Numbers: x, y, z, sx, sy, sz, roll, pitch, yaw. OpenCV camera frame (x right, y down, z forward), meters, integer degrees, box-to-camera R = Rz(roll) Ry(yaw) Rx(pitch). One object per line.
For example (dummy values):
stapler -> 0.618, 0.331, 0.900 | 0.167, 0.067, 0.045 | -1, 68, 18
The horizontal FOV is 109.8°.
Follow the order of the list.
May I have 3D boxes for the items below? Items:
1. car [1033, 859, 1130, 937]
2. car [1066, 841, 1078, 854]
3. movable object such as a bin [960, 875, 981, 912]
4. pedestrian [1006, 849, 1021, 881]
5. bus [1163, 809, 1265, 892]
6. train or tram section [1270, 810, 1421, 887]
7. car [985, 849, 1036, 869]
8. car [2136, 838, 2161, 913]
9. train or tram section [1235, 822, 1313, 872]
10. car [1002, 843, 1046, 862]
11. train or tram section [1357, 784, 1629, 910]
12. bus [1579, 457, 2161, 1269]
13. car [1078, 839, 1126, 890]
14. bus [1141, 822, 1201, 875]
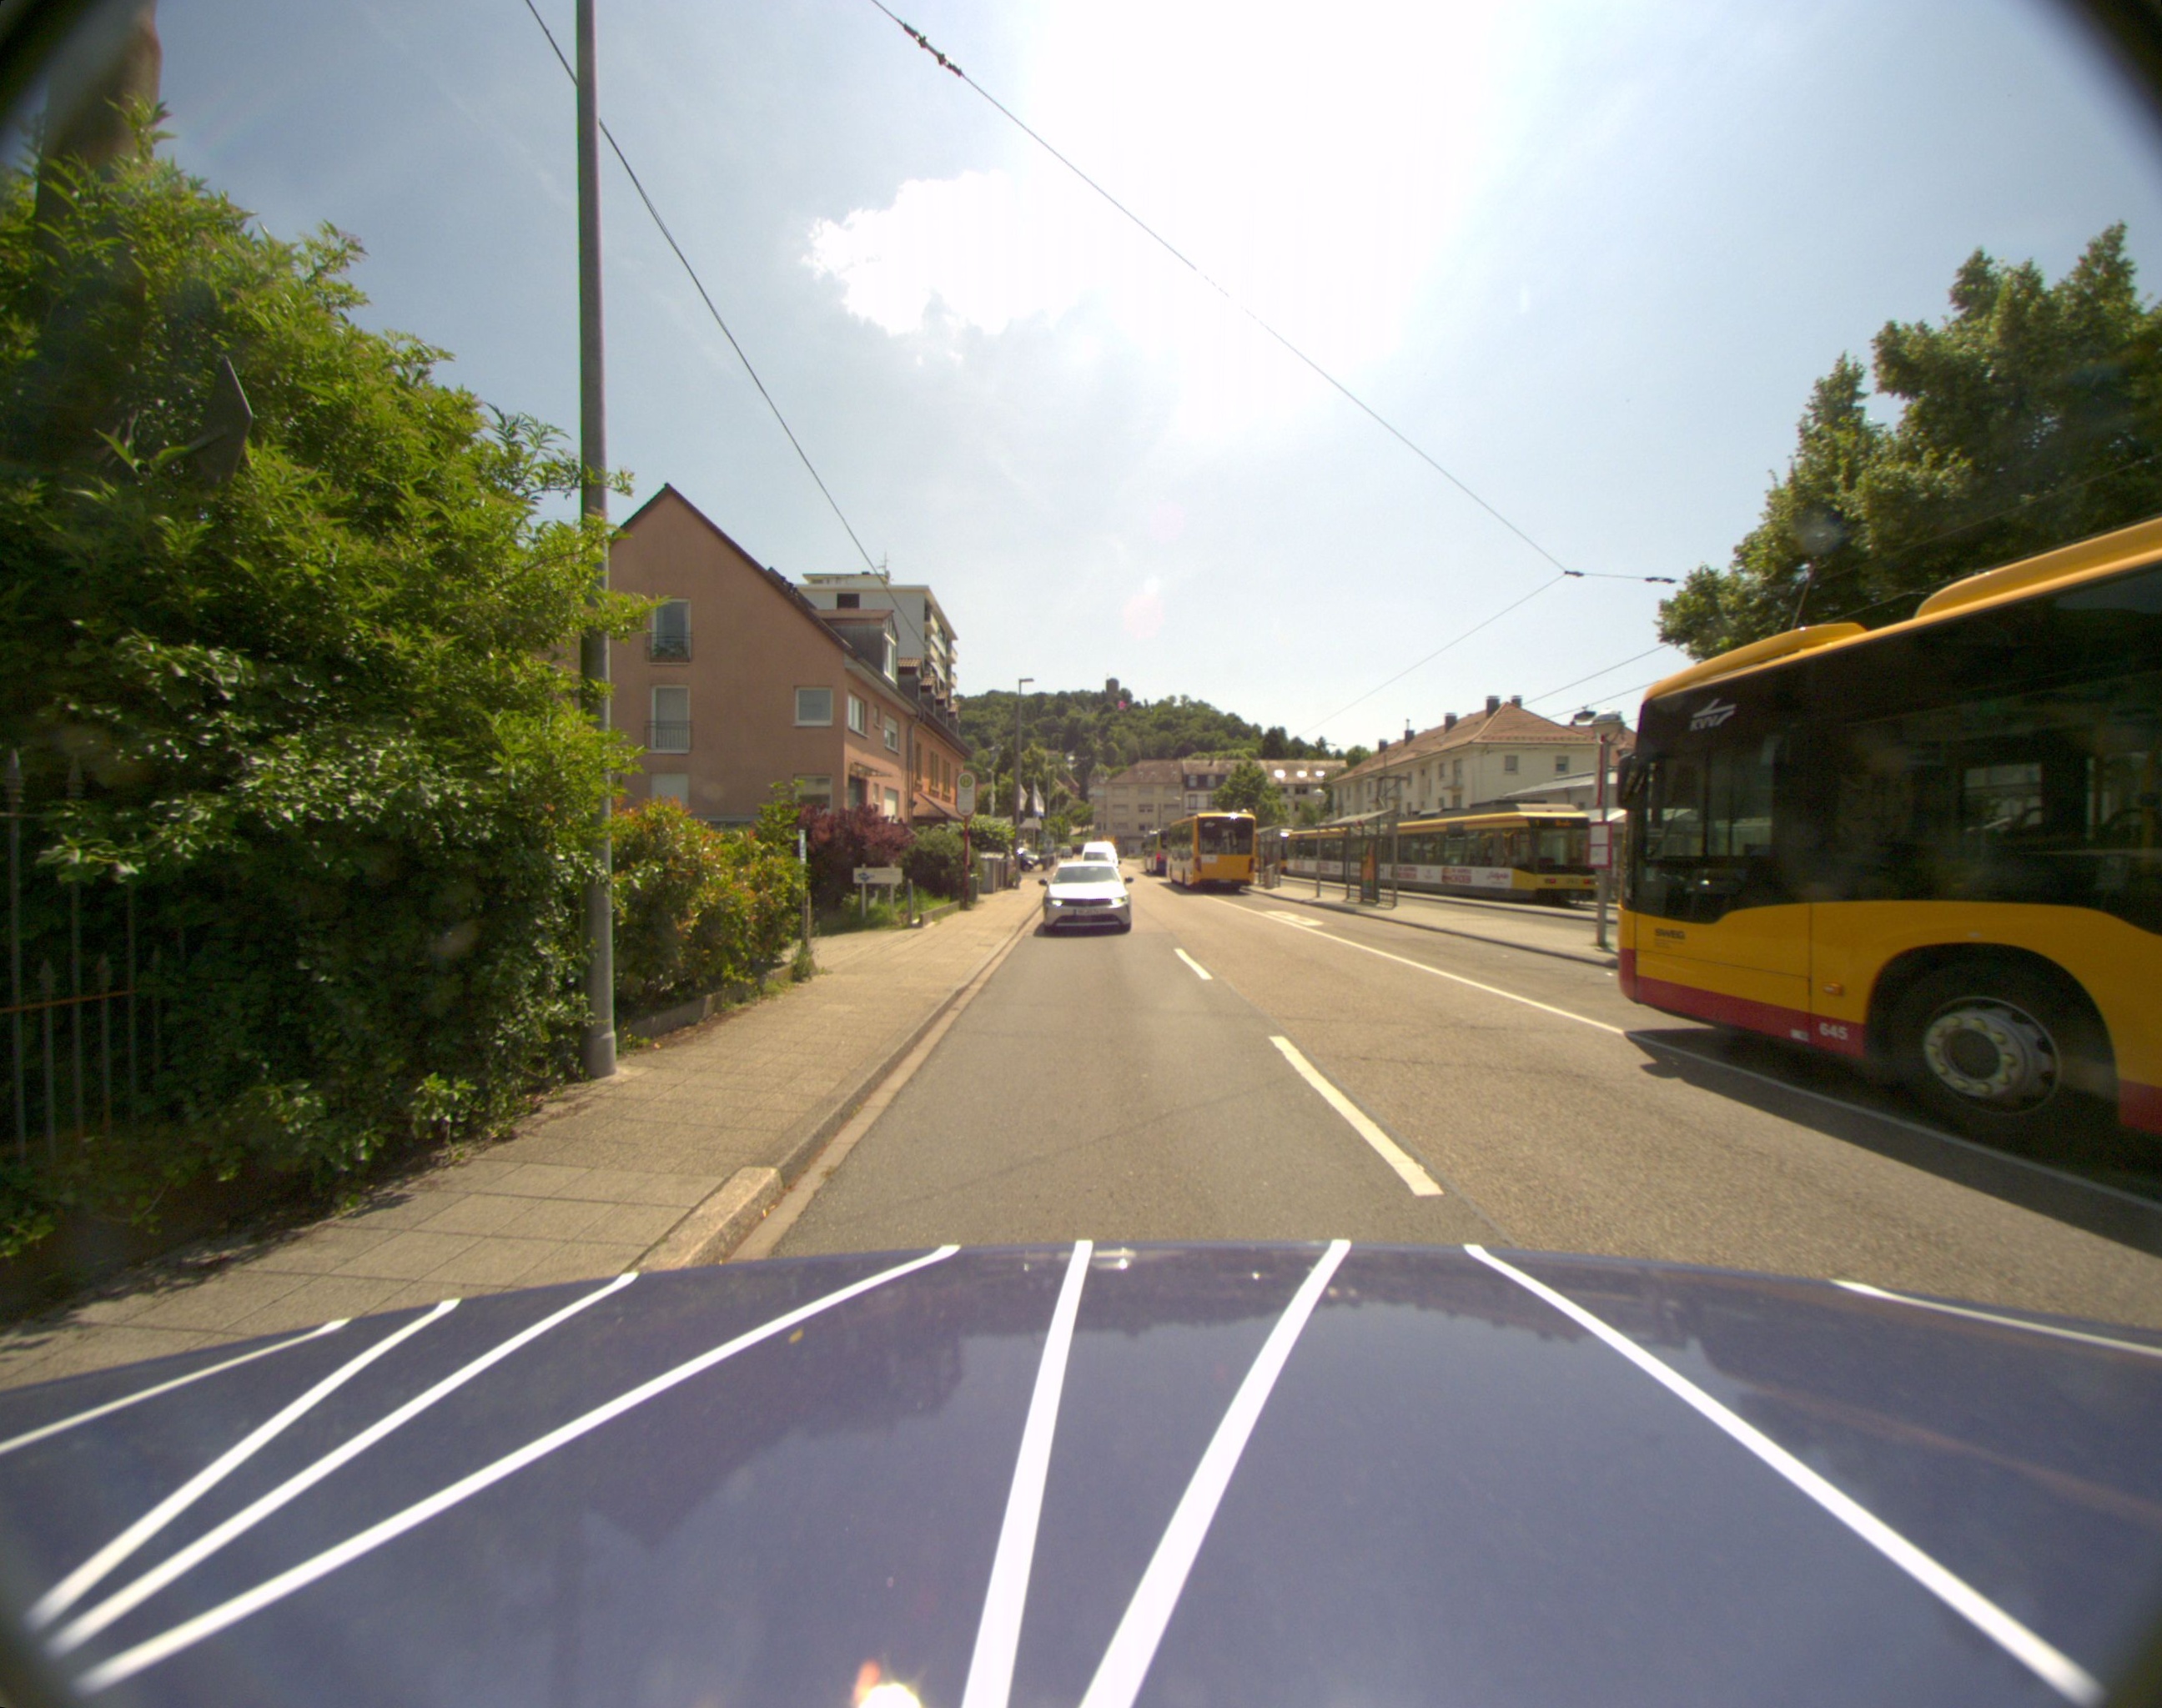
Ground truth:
car -> 0.146, 0.861, 16.806 | 1.818, 1.371, 4.392 | 0, 1, 4
car -> -1.410, -1.022, 115.284 | 1.708, 1.840, 4.710 | -2, 2, -3
movable object such as a bin -> -2.897, 1.028, 19.970 | 0.407, 0.902, 0.729 | 4, 2, -3
pedestrian -> -3.488, 0.577, 39.084 | 0.707, 1.632, 0.659 | 1, 0, -9
bus -> 5.979, -0.329, 36.545 | 2.905, 3.229, 12.192 | -2, 2, 1
train or tram section -> 14.780, -0.401, 44.893 | 2.971, 3.622, 17.348 | -2, 1, 1
car -> -5.648, 0.409, 60.652 | 3.890, 1.534, 1.840 | 0, 2, -12
car -> 19.258, 0.411, 11.306 | 1.572, 1.266, 3.999 | -2, 2, 1
train or tram section -> 14.858, -0.581, 59.704 | 2.971, 3.475, 12.654 | -2, 1, 1
car -> -5.662, -0.145, 75.441 | 4.277, 1.780, 1.826 | 0, 3, 40
train or tram section -> 14.601, -0.311, 29.224 | 2.971, 3.622, 13.991 | -2, 1, 1
bus -> 5.746, 0.050, 0.472 | 2.915, 3.229, 12.116 | -2, 1, 0
car -> 0.981, 0.437, 38.429 | 1.999, 2.259, 5.441 | -2, 2, -2
bus -> 6.397, -0.380, 56.058 | 2.915, 3.407, 12.039 | -2, 0, 0
